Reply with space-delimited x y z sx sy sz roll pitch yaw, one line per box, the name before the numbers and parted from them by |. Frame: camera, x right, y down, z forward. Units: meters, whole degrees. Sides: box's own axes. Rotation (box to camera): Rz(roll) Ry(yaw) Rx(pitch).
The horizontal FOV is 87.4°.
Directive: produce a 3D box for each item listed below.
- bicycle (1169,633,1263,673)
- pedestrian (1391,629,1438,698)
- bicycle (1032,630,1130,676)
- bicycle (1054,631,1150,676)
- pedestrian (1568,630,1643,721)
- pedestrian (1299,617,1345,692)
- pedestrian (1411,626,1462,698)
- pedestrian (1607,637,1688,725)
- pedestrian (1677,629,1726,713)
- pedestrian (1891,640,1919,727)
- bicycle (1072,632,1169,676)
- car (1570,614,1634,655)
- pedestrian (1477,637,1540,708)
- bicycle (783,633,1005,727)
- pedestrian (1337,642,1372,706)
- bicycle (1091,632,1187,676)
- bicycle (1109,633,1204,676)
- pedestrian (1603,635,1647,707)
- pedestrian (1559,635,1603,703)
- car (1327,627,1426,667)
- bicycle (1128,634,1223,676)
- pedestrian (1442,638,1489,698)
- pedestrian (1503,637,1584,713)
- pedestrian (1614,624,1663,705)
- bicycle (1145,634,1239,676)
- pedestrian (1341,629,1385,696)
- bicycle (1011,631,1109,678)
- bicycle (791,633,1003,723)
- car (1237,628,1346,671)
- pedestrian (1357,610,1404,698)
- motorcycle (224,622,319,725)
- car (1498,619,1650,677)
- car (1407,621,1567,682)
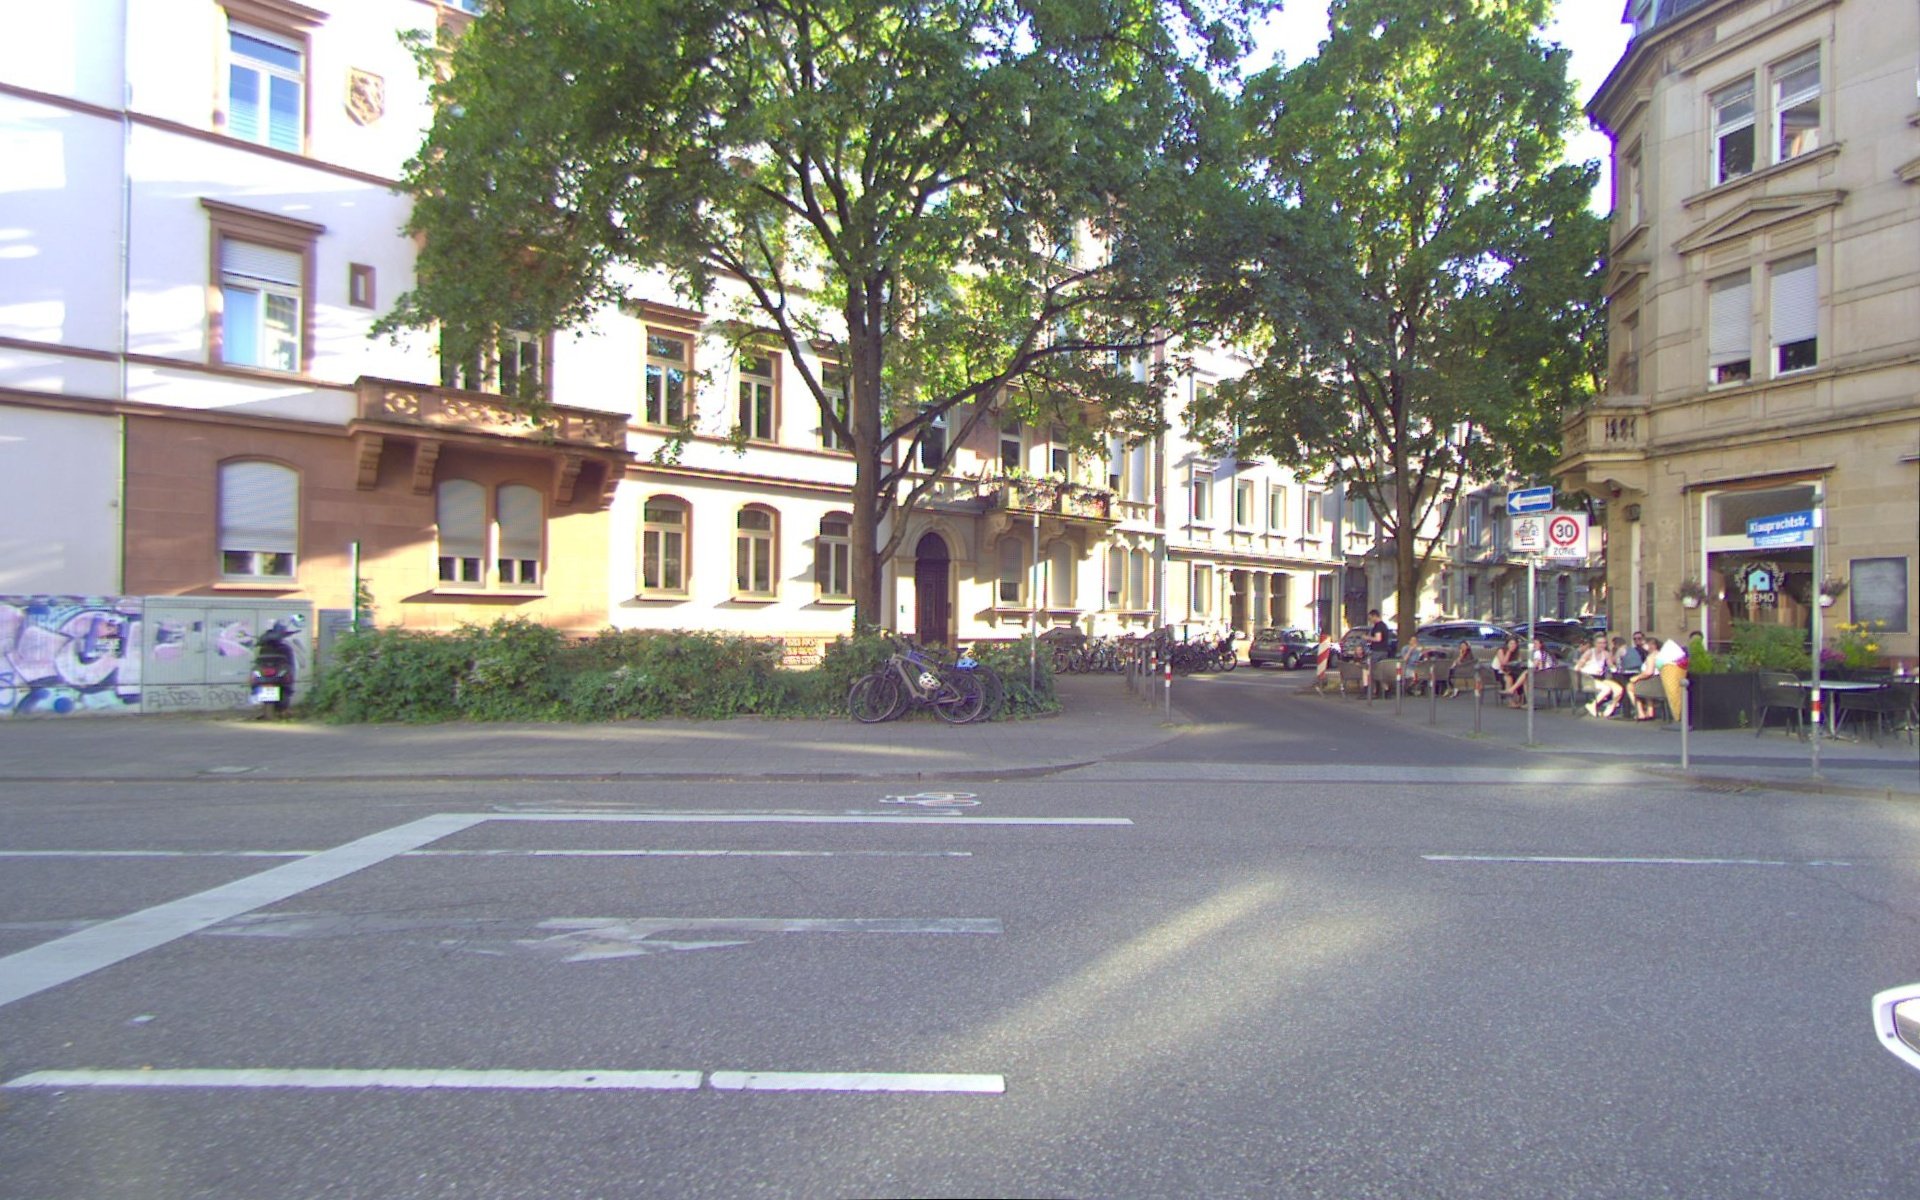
bicycle | 8.112 1.656 32.050 0.745 1.196 3.102 1 -2 -38
pedestrian | 9.864 1.370 21.824 0.751 1.460 0.668 -1 -2 8
bicycle | 3.361 1.470 28.286 0.745 1.196 3.102 1 -2 -38
bicycle | 4.025 1.501 28.804 0.745 1.196 3.102 1 -2 -38
pedestrian | 10.498 1.204 16.353 0.716 1.429 0.754 1 -1 -16
pedestrian | 8.303 1.253 23.078 0.752 1.691 0.668 0 -2 -6
pedestrian | 9.857 1.287 20.792 0.751 1.460 0.668 -1 -2 8
pedestrian | 10.611 1.234 15.520 0.730 1.306 0.743 1 -1 -14
pedestrian | 12.457 1.184 16.886 0.426 1.385 0.481 0 -1 -12
pedestrian | 14.004 1.191 14.406 0.746 1.230 0.724 1 -1 -23
bicycle | 4.638 1.535 29.291 0.745 1.196 3.102 1 -2 -38
car | 34.313 1.830 53.689 3.719 2.112 1.793 2 -2 -39
pedestrian | 10.080 1.319 18.478 0.735 1.265 0.706 0 -1 -6
bicycle | -0.864 1.057 13.476 2.900 1.212 0.548 0 -1 0
pedestrian | 8.399 1.572 21.387 0.560 1.338 0.505 -1 -1 6
bicycle | 5.270 1.574 29.821 0.745 1.196 3.102 1 -2 -38
bicycle | 5.883 1.612 30.341 0.745 1.196 3.102 1 -2 -38
pedestrian | 11.900 1.265 17.982 0.426 1.265 0.482 0 -1 -6
pedestrian | 11.703 1.292 18.949 0.501 1.265 0.482 0 -1 -6
car | 15.678 1.744 37.790 3.719 1.394 1.908 2 -2 -39
bicycle | 6.562 1.652 30.831 0.745 1.196 3.102 1 -2 -38
pedestrian | 10.639 1.421 21.173 0.664 1.231 0.668 0 -2 6
pedestrian | 10.193 1.289 17.576 0.735 1.265 1.024 0 -1 -7
pedestrian | 12.498 1.176 18.514 0.474 1.450 0.568 0 -1 -15
bicycle | 7.205 1.691 31.369 0.745 1.196 3.102 1 -2 -38
pedestrian | 8.845 1.368 22.062 0.751 1.430 0.668 -1 -2 10
bicycle | 2.725 1.465 27.740 0.745 1.196 3.102 1 -2 -38
bicycle | -0.867 1.083 14.071 2.900 1.212 0.548 0 -1 0
car | 11.478 1.668 34.720 3.719 1.394 1.908 2 -2 -39
pedestrian | 8.699 1.108 20.790 0.751 1.793 0.572 -1 -2 8
motorcycle | -9.315 0.948 13.664 0.833 1.282 2.095 1 -1 -29
car | 19.426 1.489 32.022 3.925 1.706 1.998 0 -1 25
car | 14.630 1.399 28.122 3.761 1.582 1.803 0 -1 20
